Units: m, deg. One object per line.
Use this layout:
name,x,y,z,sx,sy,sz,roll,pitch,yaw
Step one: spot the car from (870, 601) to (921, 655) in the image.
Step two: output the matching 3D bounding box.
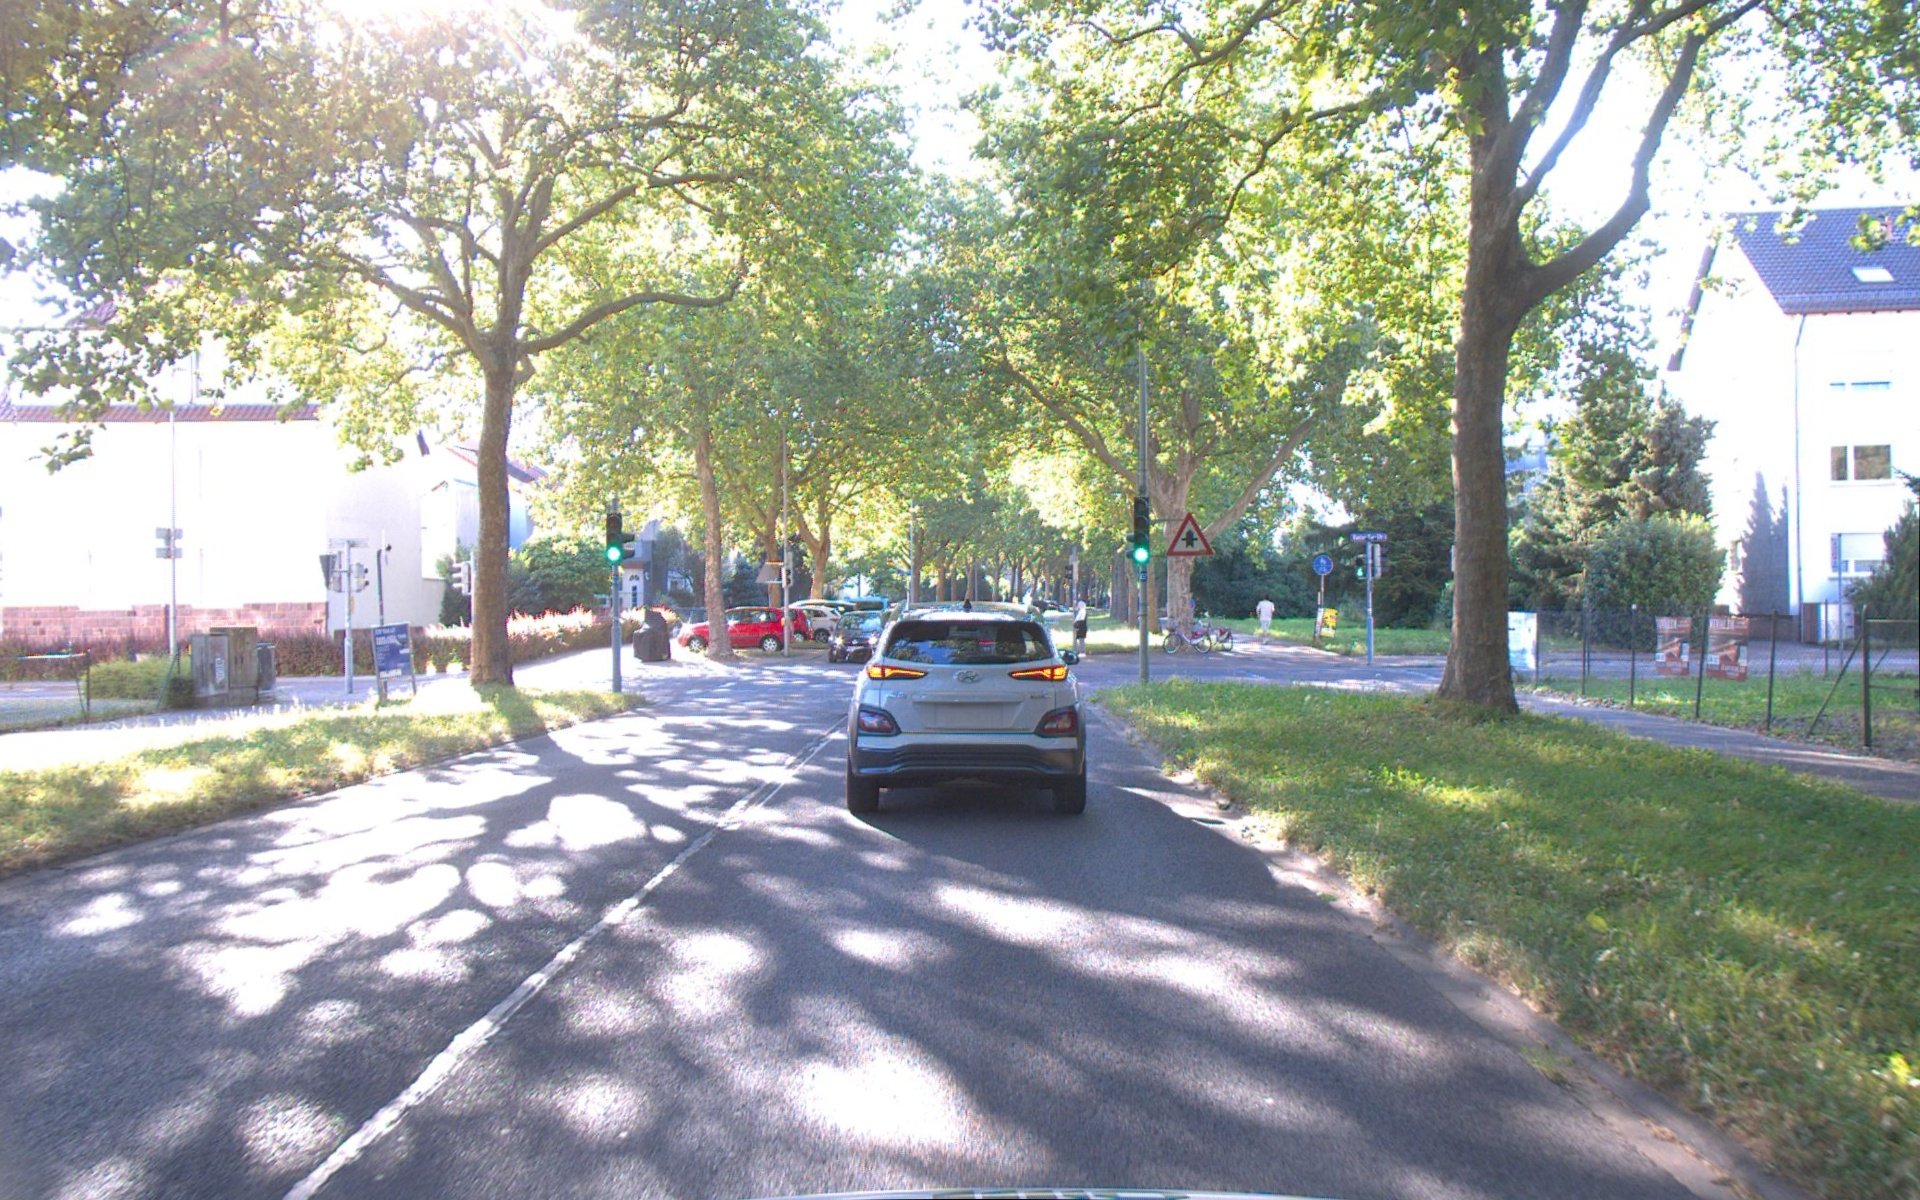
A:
car,-2.355,1.028,61.438,1.755,1.915,3.999,1,-1,-1

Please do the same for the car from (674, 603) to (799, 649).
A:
car,-7.536,0.887,56.025,3.905,1.504,2.000,1,-1,0

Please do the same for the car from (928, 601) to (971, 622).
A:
car,-0.916,1.030,147.606,3.601,1.840,1.745,0,0,-9

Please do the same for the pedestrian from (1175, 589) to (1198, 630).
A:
pedestrian,11.468,0.482,83.631,1.071,2.049,1.106,-2,0,7

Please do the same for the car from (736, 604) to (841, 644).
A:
car,-6.802,0.955,65.865,3.905,1.504,2.000,1,-1,0

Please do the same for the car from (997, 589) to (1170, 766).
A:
car,1.486,0.931,21.274,1.952,2.049,4.000,1,-1,0

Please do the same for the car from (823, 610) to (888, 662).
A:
car,-3.102,1.050,49.643,1.653,1.462,3.682,1,0,0

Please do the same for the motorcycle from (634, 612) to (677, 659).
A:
motorcycle,-9.475,1.096,51.541,0.829,1.403,2.776,1,-1,-1

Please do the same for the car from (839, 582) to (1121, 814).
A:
car,0.126,0.708,13.564,1.953,1.602,3.999,1,-1,-1

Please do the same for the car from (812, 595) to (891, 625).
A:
car,-5.605,0.539,85.712,3.905,1.504,2.000,1,-1,0

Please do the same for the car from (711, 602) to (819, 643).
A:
car,-7.462,0.856,63.593,3.905,1.504,2.000,1,-1,0

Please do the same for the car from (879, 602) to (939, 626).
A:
car,-3.359,0.921,109.509,3.905,1.504,2.000,1,-1,0

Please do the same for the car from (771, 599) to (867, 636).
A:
car,-6.021,0.765,71.020,3.905,1.504,2.000,1,-1,0

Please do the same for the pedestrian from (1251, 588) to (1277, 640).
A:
pedestrian,10.461,0.483,56.933,0.816,1.766,0.885,0,-1,8

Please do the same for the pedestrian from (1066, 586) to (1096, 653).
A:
pedestrian,3.743,0.592,51.152,0.849,2.049,0.814,0,-1,8

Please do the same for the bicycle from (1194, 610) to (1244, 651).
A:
bicycle,7.896,0.920,50.427,0.594,1.204,2.107,1,-1,-19

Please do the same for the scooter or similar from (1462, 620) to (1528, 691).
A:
scooter or similar,10.058,1.022,31.171,0.538,1.280,2.313,1,-1,1

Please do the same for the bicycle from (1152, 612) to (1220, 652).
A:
bicycle,6.780,0.953,49.667,0.600,1.184,2.116,2,-1,-43
